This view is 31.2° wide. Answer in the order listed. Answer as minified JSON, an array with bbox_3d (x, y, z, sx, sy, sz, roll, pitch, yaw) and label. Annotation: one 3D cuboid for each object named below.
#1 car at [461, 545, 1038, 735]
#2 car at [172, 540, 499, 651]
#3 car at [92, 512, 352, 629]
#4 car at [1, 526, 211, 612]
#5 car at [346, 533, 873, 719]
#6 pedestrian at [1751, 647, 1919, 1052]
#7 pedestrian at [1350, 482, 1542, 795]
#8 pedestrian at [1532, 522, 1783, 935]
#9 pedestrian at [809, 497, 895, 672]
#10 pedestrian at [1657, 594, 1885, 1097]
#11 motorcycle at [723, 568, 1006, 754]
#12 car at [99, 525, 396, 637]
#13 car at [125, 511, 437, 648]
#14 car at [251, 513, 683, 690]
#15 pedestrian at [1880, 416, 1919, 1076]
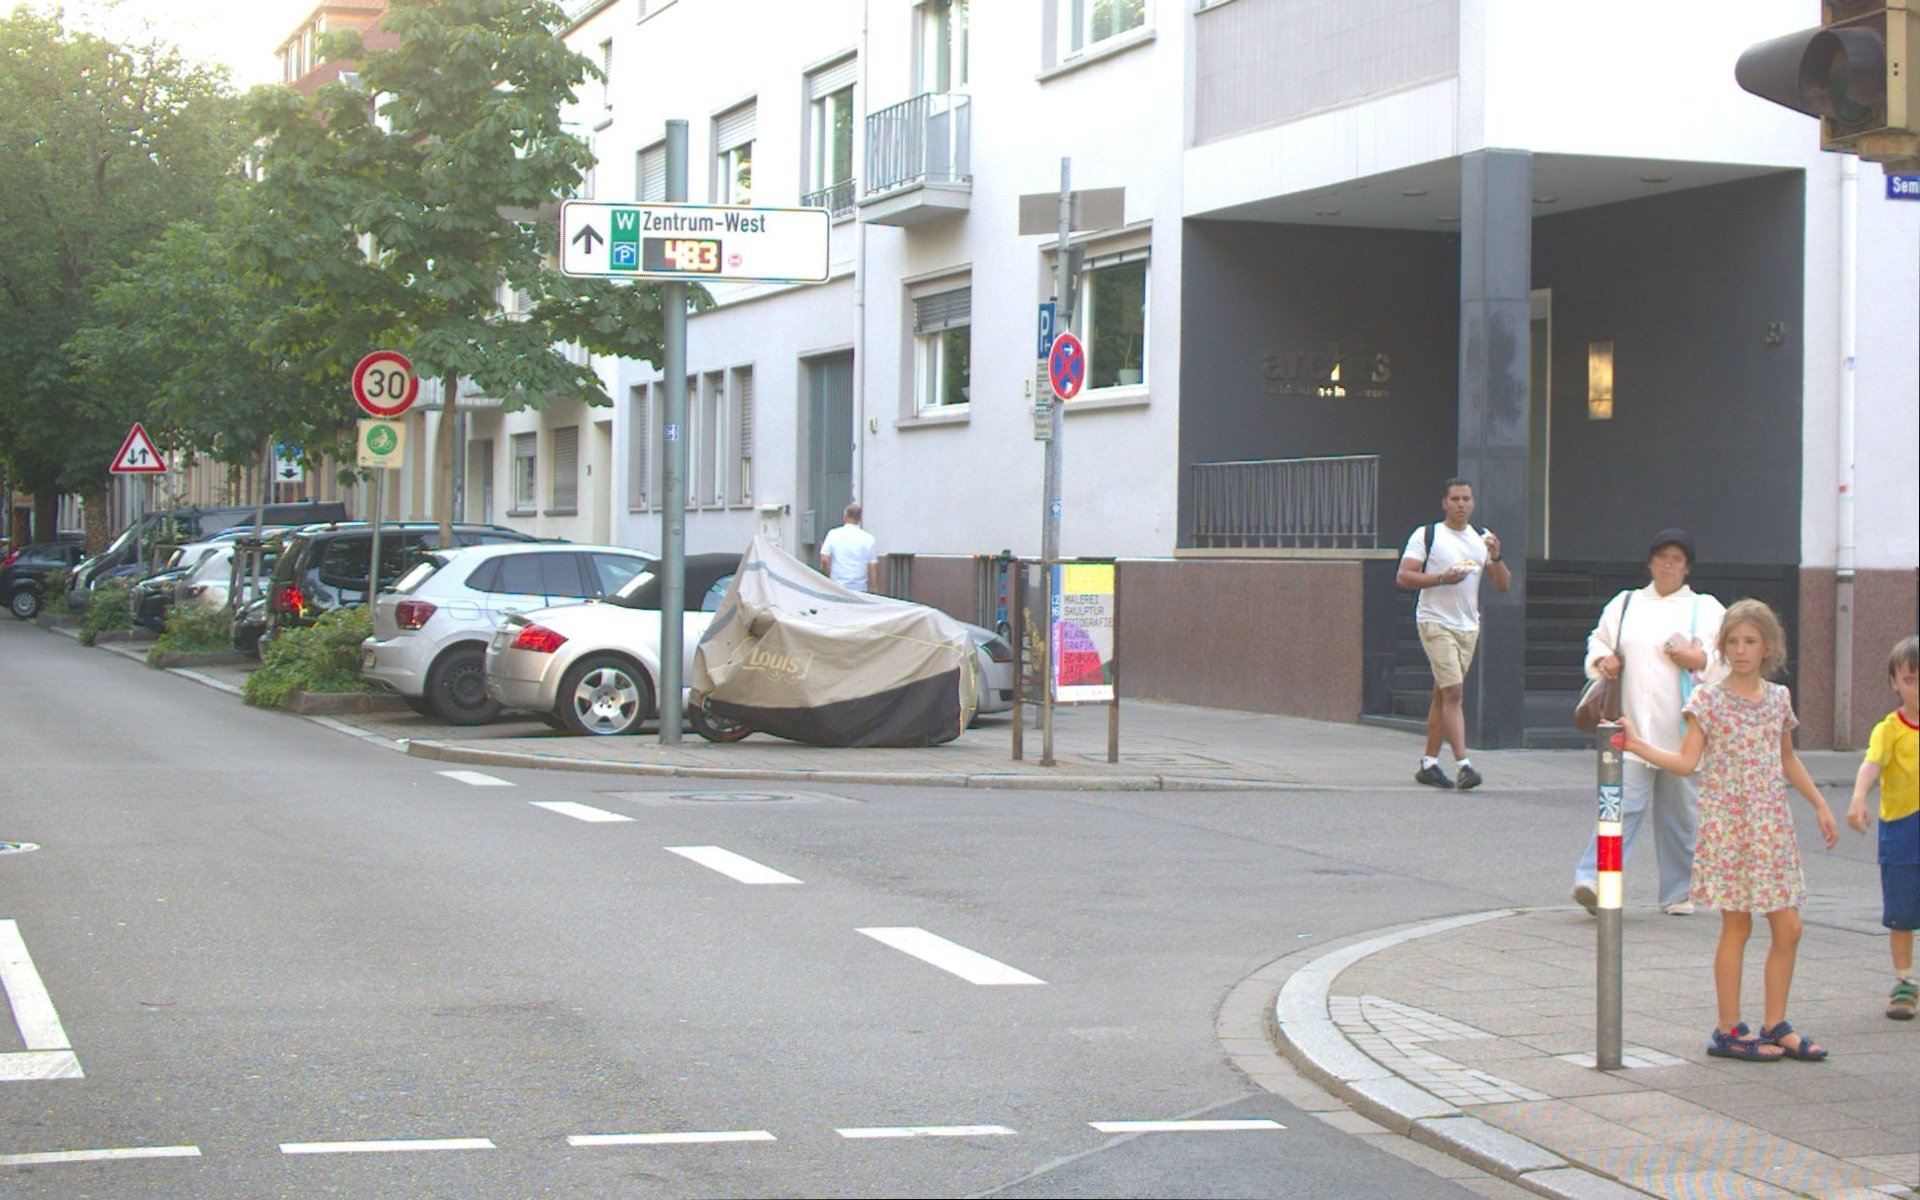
[{"bbox_3d":[-1.598,0.272,25.767,4.013,1.338,1.707,0,1,-17],"label":"car"},{"bbox_3d":[-8.181,-0.071,44.978,4.013,1.404,1.707,0,1,-18],"label":"car"},{"bbox_3d":[-12.188,-0.484,56.761,4.013,1.824,1.707,1,1,-18],"label":"car"},{"bbox_3d":[-17.009,-0.616,68.646,3.977,1.572,1.911,2,0,-12],"label":"car"},{"bbox_3d":[-2.880,0.187,28.109,4.013,1.437,1.707,0,1,-18],"label":"car"},{"bbox_3d":[2.861,0.724,10.243,0.565,1.117,0.837,-1,2,-28],"label":"pedestrian"},{"bbox_3d":[2.922,0.220,20.741,0.766,1.835,0.944,1,1,-17],"label":"pedestrian"},{"bbox_3d":[2.640,0.459,12.972,0.775,1.496,0.801,0,1,24],"label":"pedestrian"},{"bbox_3d":[-1.100,-0.165,34.974,0.703,1.746,0.700,1,1,-14],"label":"pedestrian"},{"bbox_3d":[2.234,0.660,9.516,0.505,1.331,0.541,1,1,5],"label":"pedestrian"},{"bbox_3d":[-0.636,0.396,22.717,1.799,1.195,0.613,0,1,-9],"label":"motorcycle"},{"bbox_3d":[-10.297,-0.270,49.647,4.013,1.525,1.707,1,1,-18],"label":"car"},{"bbox_3d":[-9.287,-0.288,46.976,4.013,1.809,1.707,0,1,-18],"label":"car"},{"bbox_3d":[-4.911,-0.001,34.183,4.013,1.684,1.707,0,1,-18],"label":"car"},{"bbox_3d":[3.075,0.389,9.676,0.889,1.809,0.793,1,3,17],"label":"pedestrian"}]
